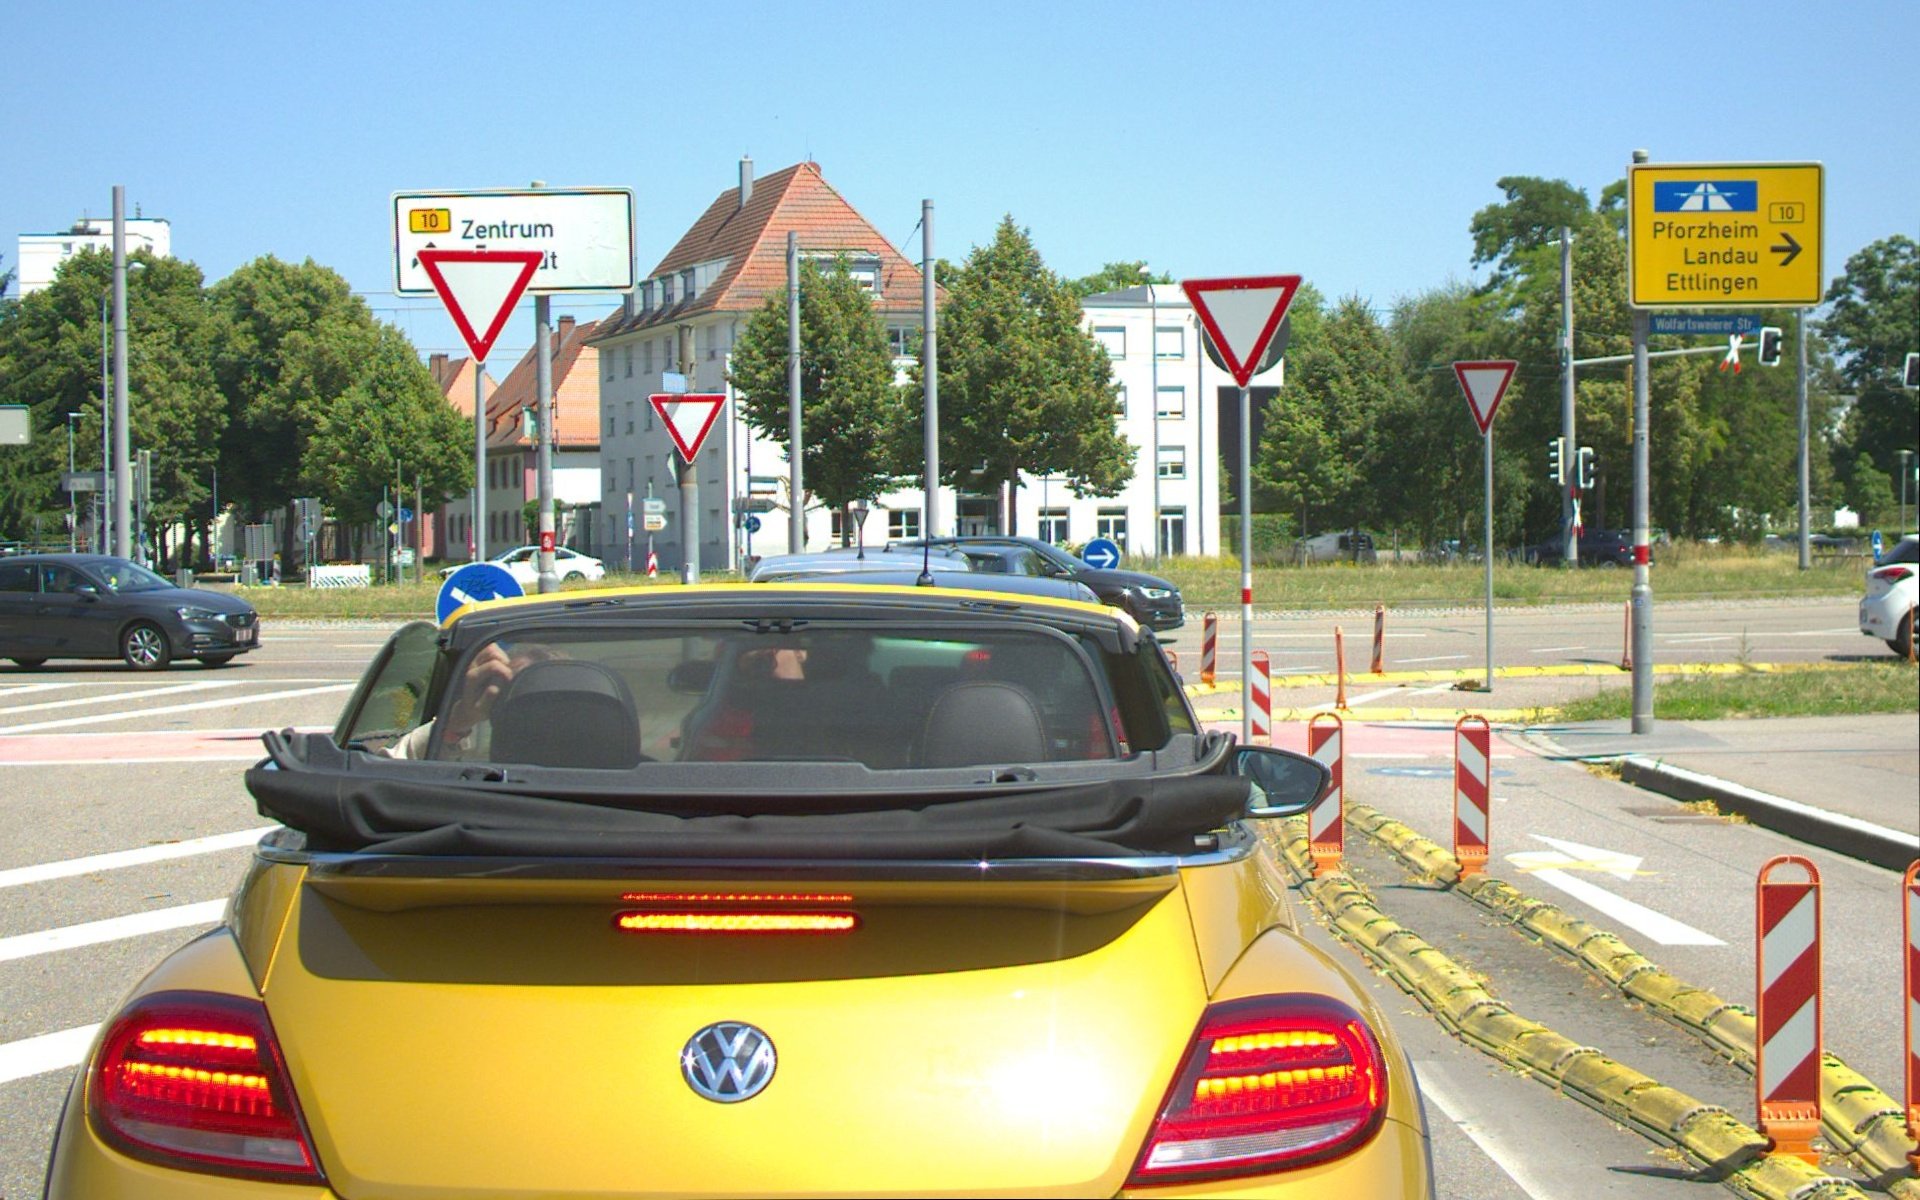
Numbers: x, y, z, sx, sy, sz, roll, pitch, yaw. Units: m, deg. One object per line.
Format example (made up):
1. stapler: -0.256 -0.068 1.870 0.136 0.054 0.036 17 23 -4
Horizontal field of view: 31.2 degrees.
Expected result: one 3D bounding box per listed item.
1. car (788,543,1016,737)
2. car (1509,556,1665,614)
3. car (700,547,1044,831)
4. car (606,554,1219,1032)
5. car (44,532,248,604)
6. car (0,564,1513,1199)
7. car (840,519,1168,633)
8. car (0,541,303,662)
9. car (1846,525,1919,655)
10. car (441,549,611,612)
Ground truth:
1. car: -0.464 0.274 28.217 1.736 1.472 4.000 0 1 -1
2. car: 18.881 -0.434 103.611 4.198 1.666 1.944 0 1 44
3. car: -0.465 0.422 19.405 1.736 1.437 4.000 0 1 -1
4. car: -0.164 0.559 12.403 1.848 1.437 4.000 0 1 -1
5. car: -21.723 -0.864 91.849 4.919 1.780 2.025 -2 1 -45
6. car: -0.323 0.662 5.517 1.752 1.417 3.778 0 1 -1
7. car: 0.617 -0.327 44.947 4.188 1.437 2.000 0 1 4
8. car: -10.527 -0.009 42.721 4.208 1.437 1.998 0 1 19
9. car: 12.087 -0.113 38.536 4.009 1.439 1.632 0 1 8
10. car: -12.984 -0.598 102.937 4.670 1.821 2.000 0 1 -34
